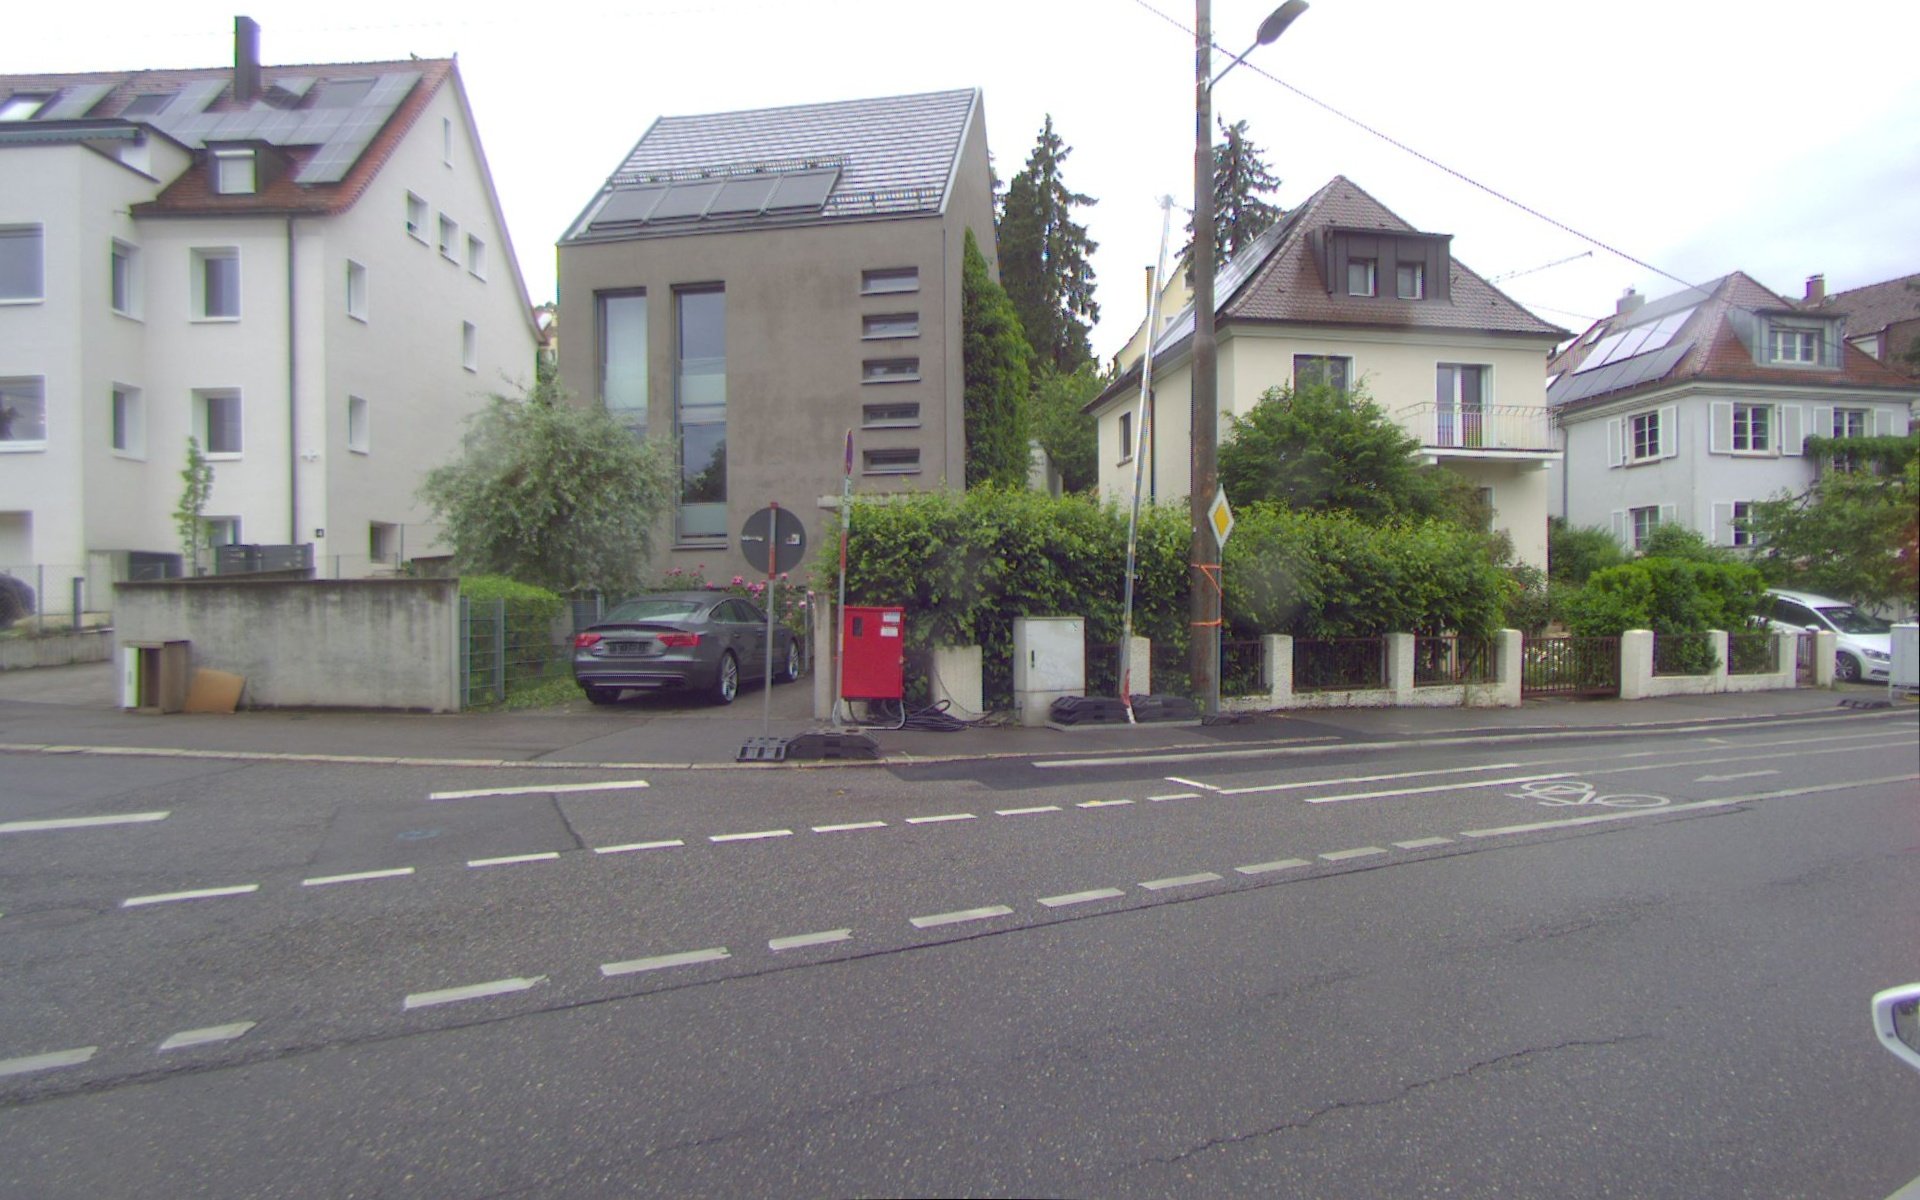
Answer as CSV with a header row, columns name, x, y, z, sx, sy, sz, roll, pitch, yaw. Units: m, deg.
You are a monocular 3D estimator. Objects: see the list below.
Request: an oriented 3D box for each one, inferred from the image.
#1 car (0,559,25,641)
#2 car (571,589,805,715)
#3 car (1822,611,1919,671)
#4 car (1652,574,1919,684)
name,x,y,z,sx,sy,sz,roll,pitch,yaw
car,-16.816,0.073,15.185,1.536,1.350,3.923,1,3,3
car,-3.472,0.572,13.720,1.581,1.387,4.265,0,1,7
car,26.055,1.111,26.998,1.909,1.546,3.986,2,0,-16
car,19.555,0.555,23.895,1.833,1.639,4.960,0,10,-15
